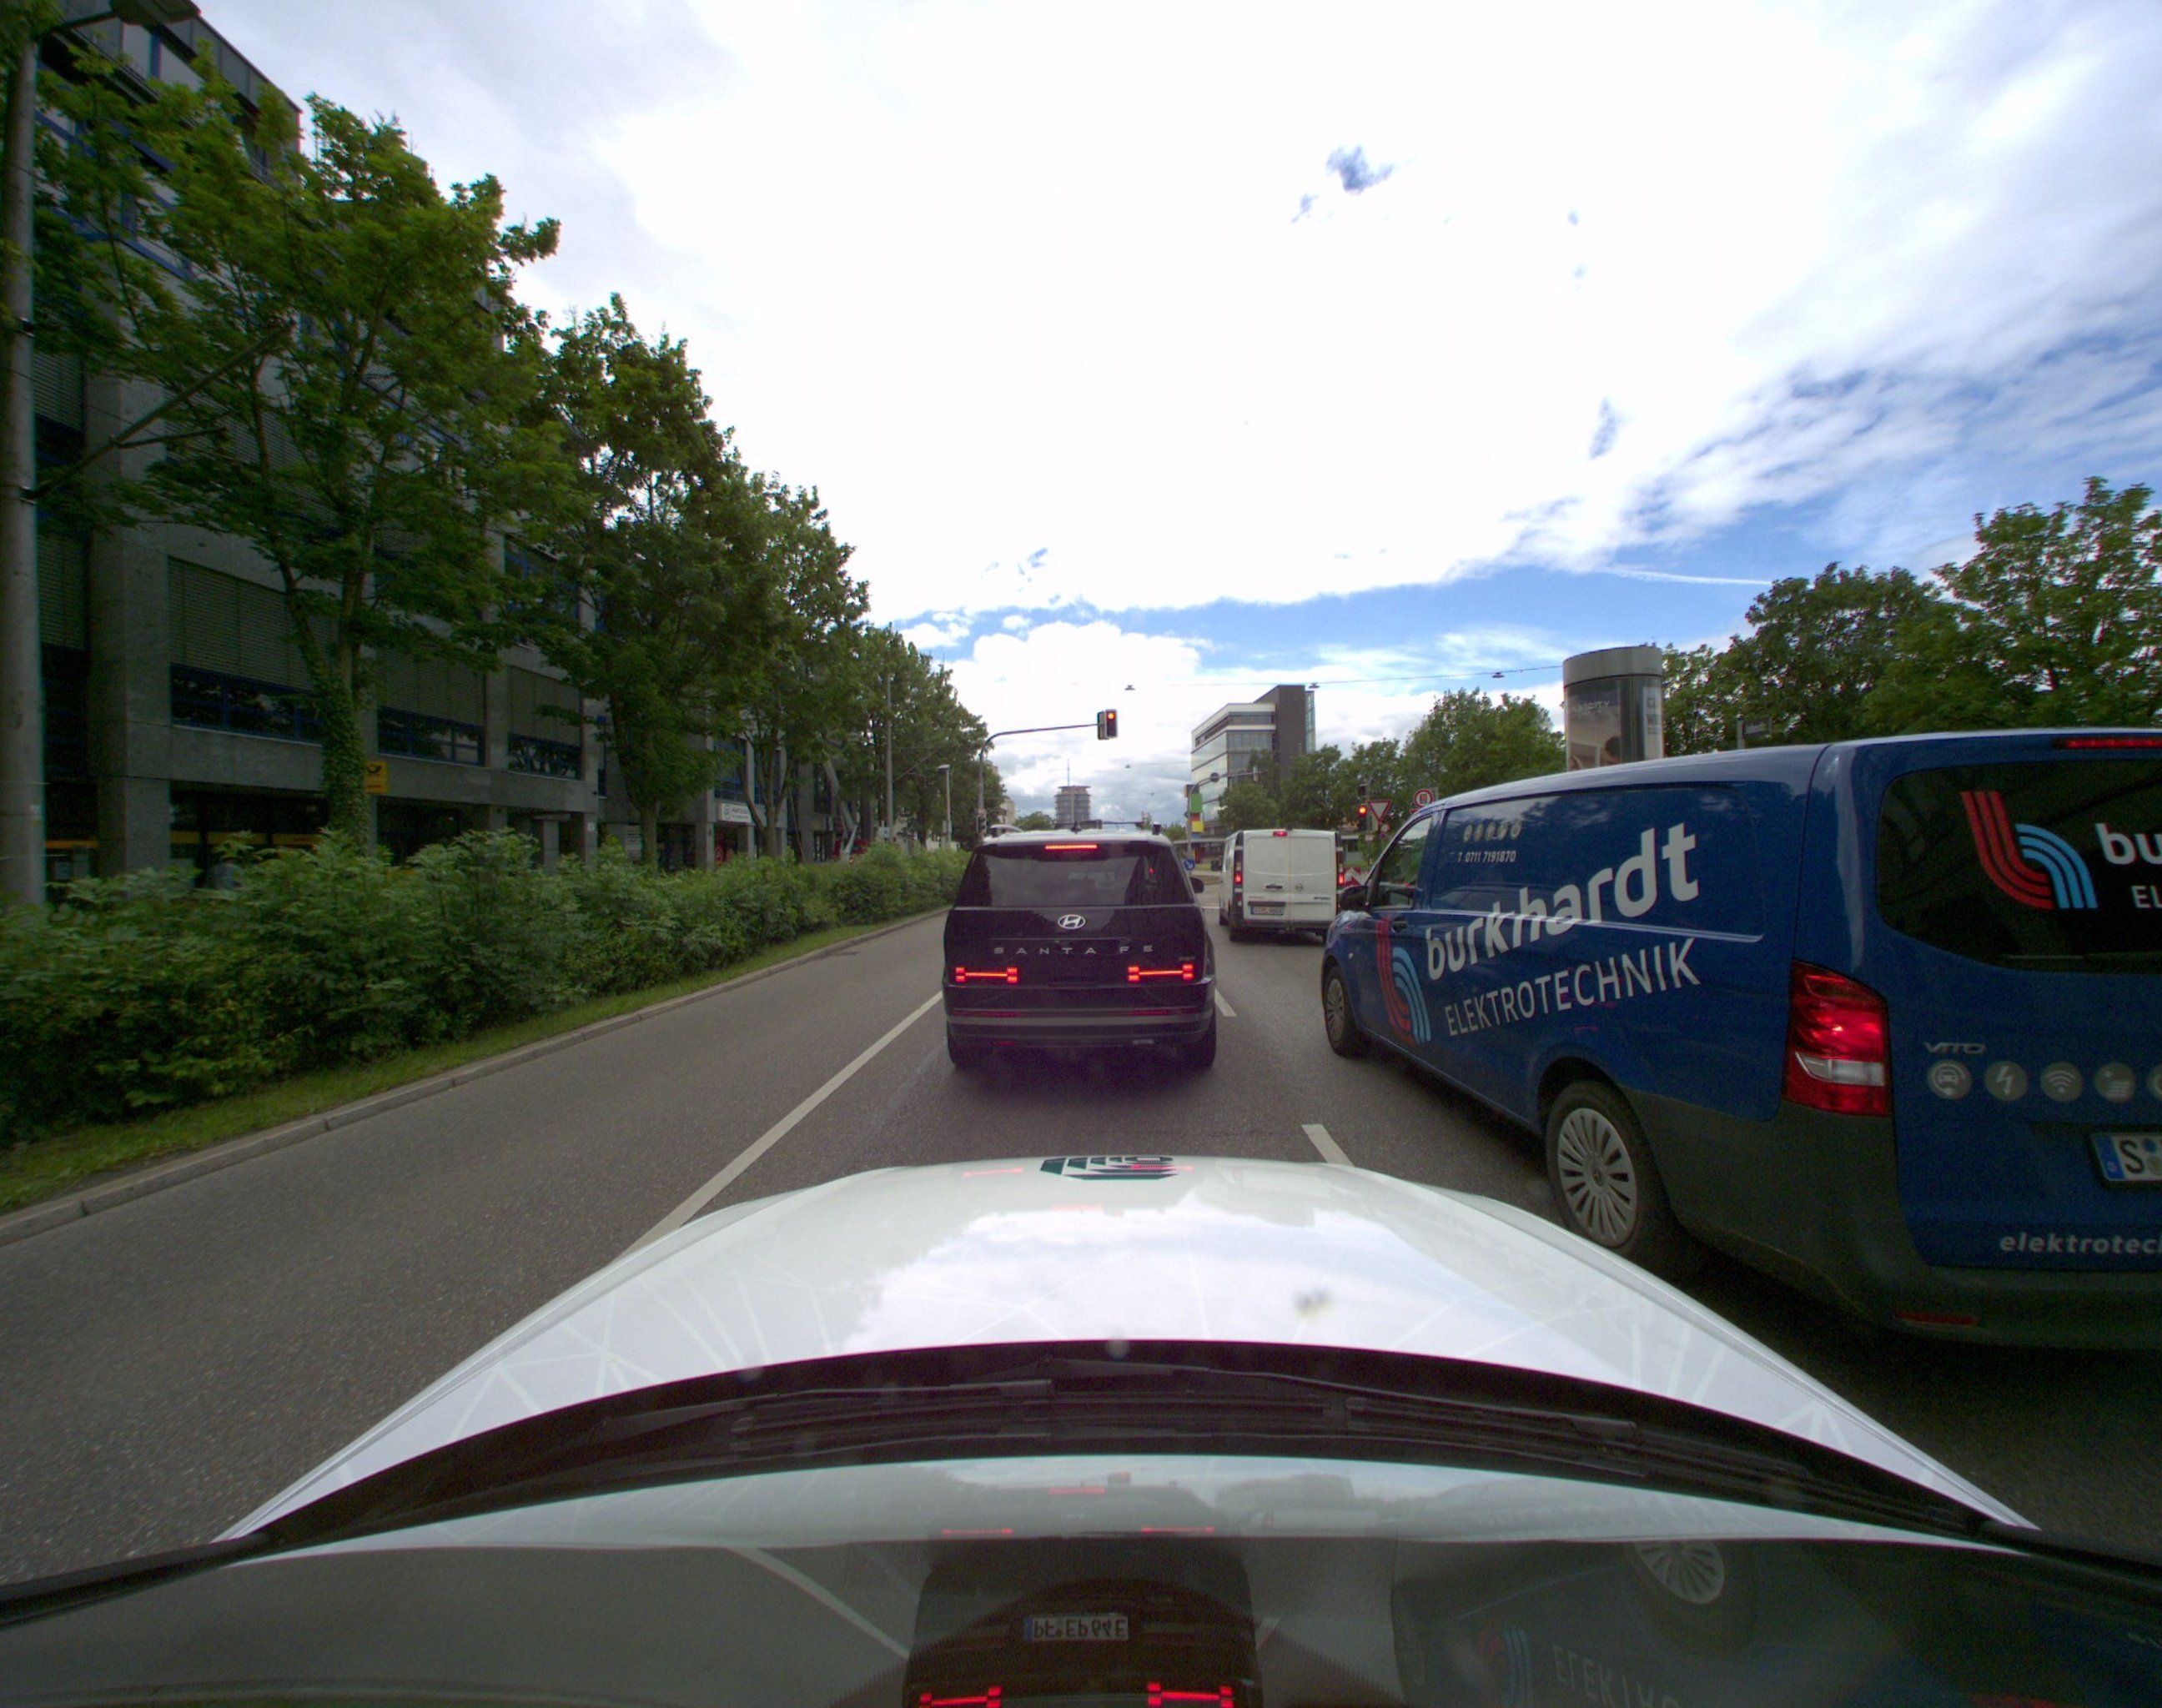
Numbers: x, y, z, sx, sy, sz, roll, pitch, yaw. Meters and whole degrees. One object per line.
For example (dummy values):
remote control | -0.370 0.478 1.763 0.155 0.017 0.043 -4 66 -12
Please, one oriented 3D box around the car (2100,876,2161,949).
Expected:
car | 23.004 1.222 15.540 1.994 1.453 3.985 1 0 -11

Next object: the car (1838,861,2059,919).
car | 25.099 0.999 23.789 1.994 1.453 3.985 1 0 -11

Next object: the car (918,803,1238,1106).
car | 0.042 0.598 6.781 1.862 1.760 3.881 -1 0 2

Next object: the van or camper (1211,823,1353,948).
van or camper | 3.642 0.519 15.599 1.983 2.013 4.660 -1 0 6

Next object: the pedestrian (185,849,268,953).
pedestrian | -16.060 0.868 15.319 0.771 1.894 0.731 -1 -1 1

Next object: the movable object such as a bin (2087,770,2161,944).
movable object such as a bin | 26.259 0.014 15.521 2.860 3.903 8.536 -1 -1 -11

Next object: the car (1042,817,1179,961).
car | 0.484 0.500 13.584 1.908 2.003 3.881 -1 0 2

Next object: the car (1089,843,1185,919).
car | 1.532 0.631 20.634 1.764 1.717 4.353 -1 -1 12

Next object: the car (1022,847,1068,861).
car | -4.167 0.026 94.443 5.271 1.596 1.997 -1 -1 -4

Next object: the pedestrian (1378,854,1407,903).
pedestrian | 10.236 0.791 26.749 0.744 1.584 0.567 1 0 -38

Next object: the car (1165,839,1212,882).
car | 5.312 0.328 40.531 1.985 2.014 4.003 -1 -1 3

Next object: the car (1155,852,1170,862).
car | 13.170 0.491 131.727 1.987 1.684 3.998 -1 -1 -1

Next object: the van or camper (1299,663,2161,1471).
van or camper | 2.736 0.497 4.456 1.853 1.911 5.034 -1 0 2
